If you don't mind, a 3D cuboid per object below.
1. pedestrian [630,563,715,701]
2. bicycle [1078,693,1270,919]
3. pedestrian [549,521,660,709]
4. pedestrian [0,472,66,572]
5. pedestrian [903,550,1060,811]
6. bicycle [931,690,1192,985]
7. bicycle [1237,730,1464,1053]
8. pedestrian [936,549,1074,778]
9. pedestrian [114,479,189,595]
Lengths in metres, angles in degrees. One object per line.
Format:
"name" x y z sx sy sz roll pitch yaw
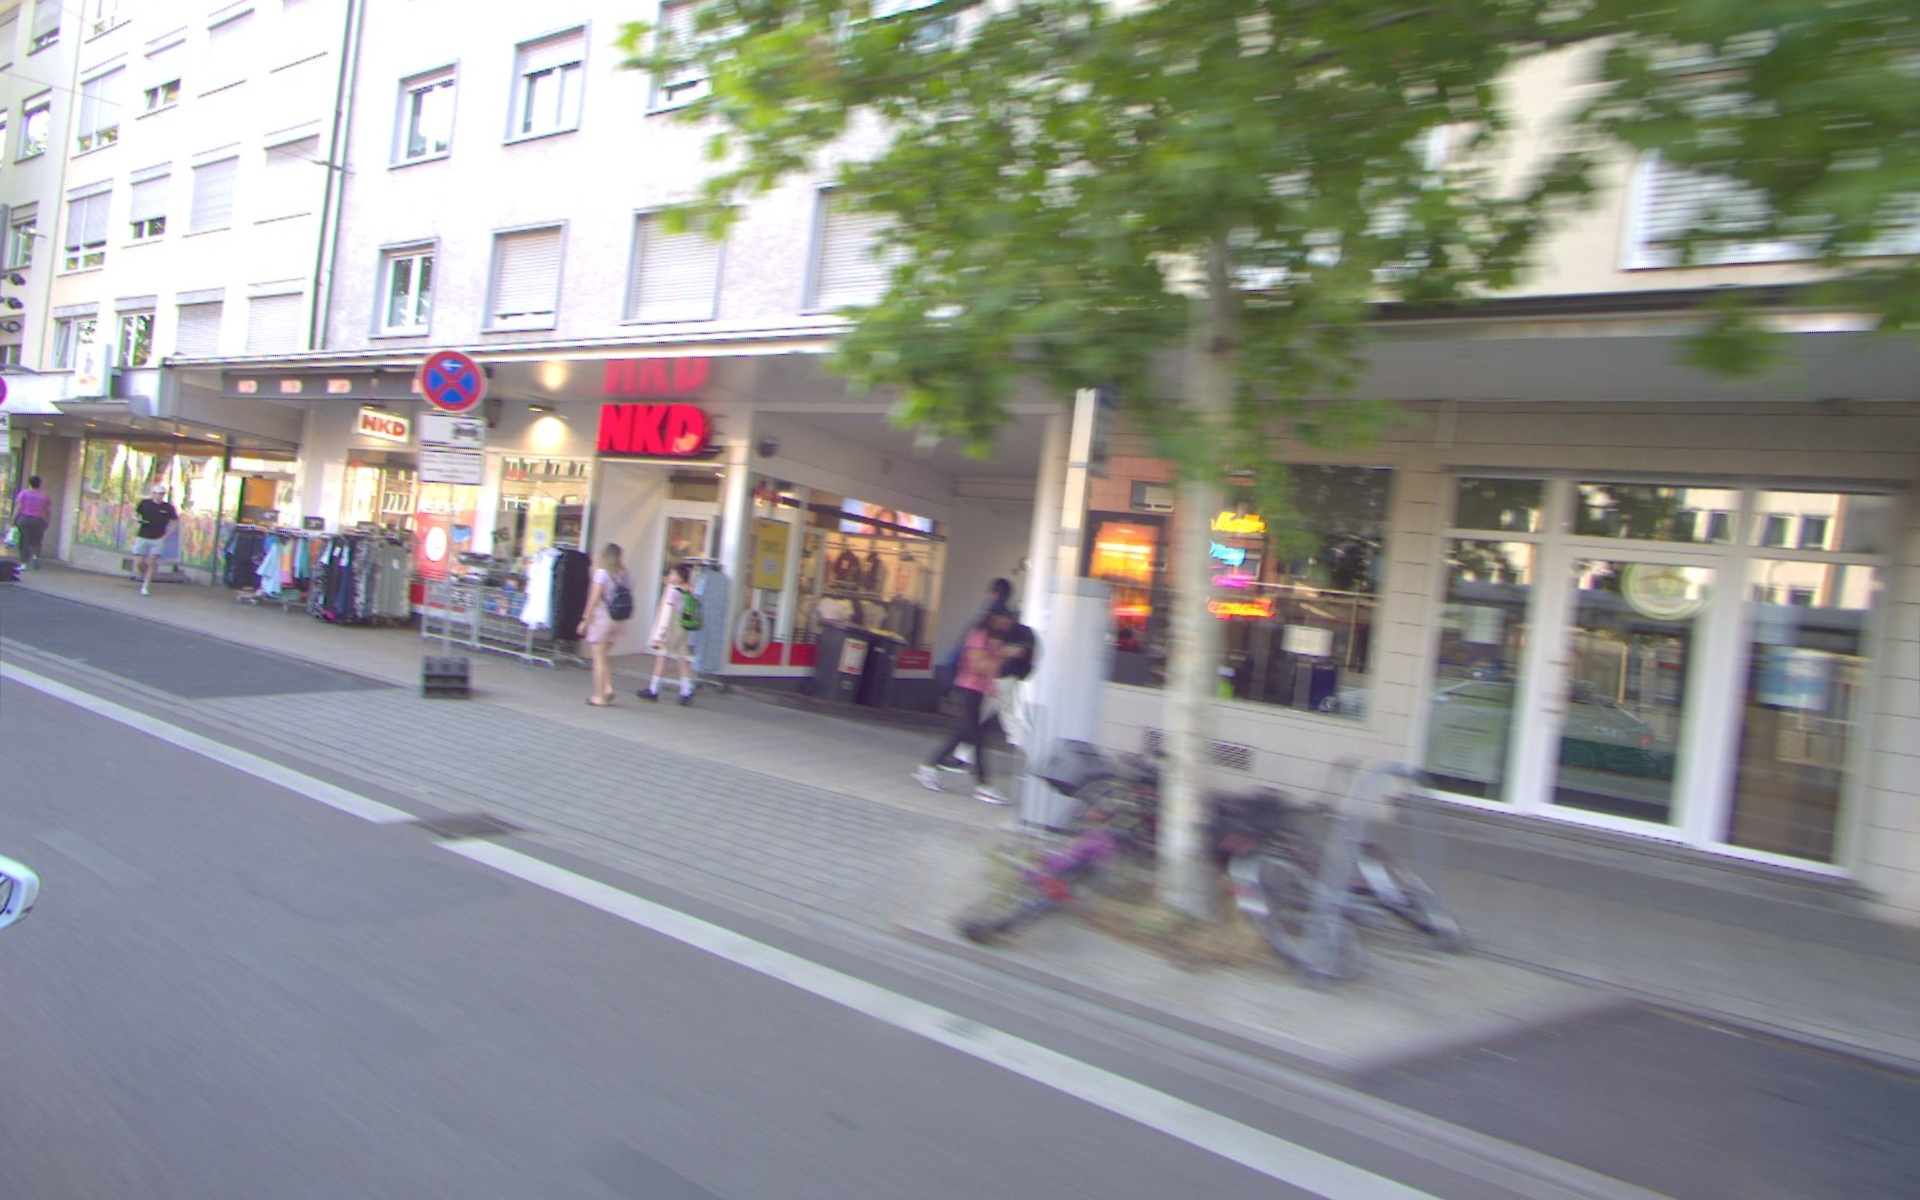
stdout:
"pedestrian" -3.128 0.348 10.945 0.601 1.412 0.475 7 1 31
"bicycle" 1.162 1.096 5.827 0.641 0.954 1.695 -2 0 -3
"pedestrian" -3.636 0.151 10.297 0.754 1.818 0.565 7 1 31
"pedestrian" -18.083 -1.514 19.572 0.754 1.818 0.724 7 1 31
"pedestrian" 0.172 0.587 7.647 0.754 1.818 0.724 7 1 31
"bicycle" 0.444 1.090 5.153 0.927 0.636 1.785 -30 2 2
"bicycle" 1.983 1.281 4.936 0.780 0.955 1.783 6 4 27
"pedestrian" 0.399 0.532 8.690 0.754 1.818 0.724 7 1 31
"pedestrian" -13.338 -1.024 16.598 0.754 1.820 0.723 7 4 31
